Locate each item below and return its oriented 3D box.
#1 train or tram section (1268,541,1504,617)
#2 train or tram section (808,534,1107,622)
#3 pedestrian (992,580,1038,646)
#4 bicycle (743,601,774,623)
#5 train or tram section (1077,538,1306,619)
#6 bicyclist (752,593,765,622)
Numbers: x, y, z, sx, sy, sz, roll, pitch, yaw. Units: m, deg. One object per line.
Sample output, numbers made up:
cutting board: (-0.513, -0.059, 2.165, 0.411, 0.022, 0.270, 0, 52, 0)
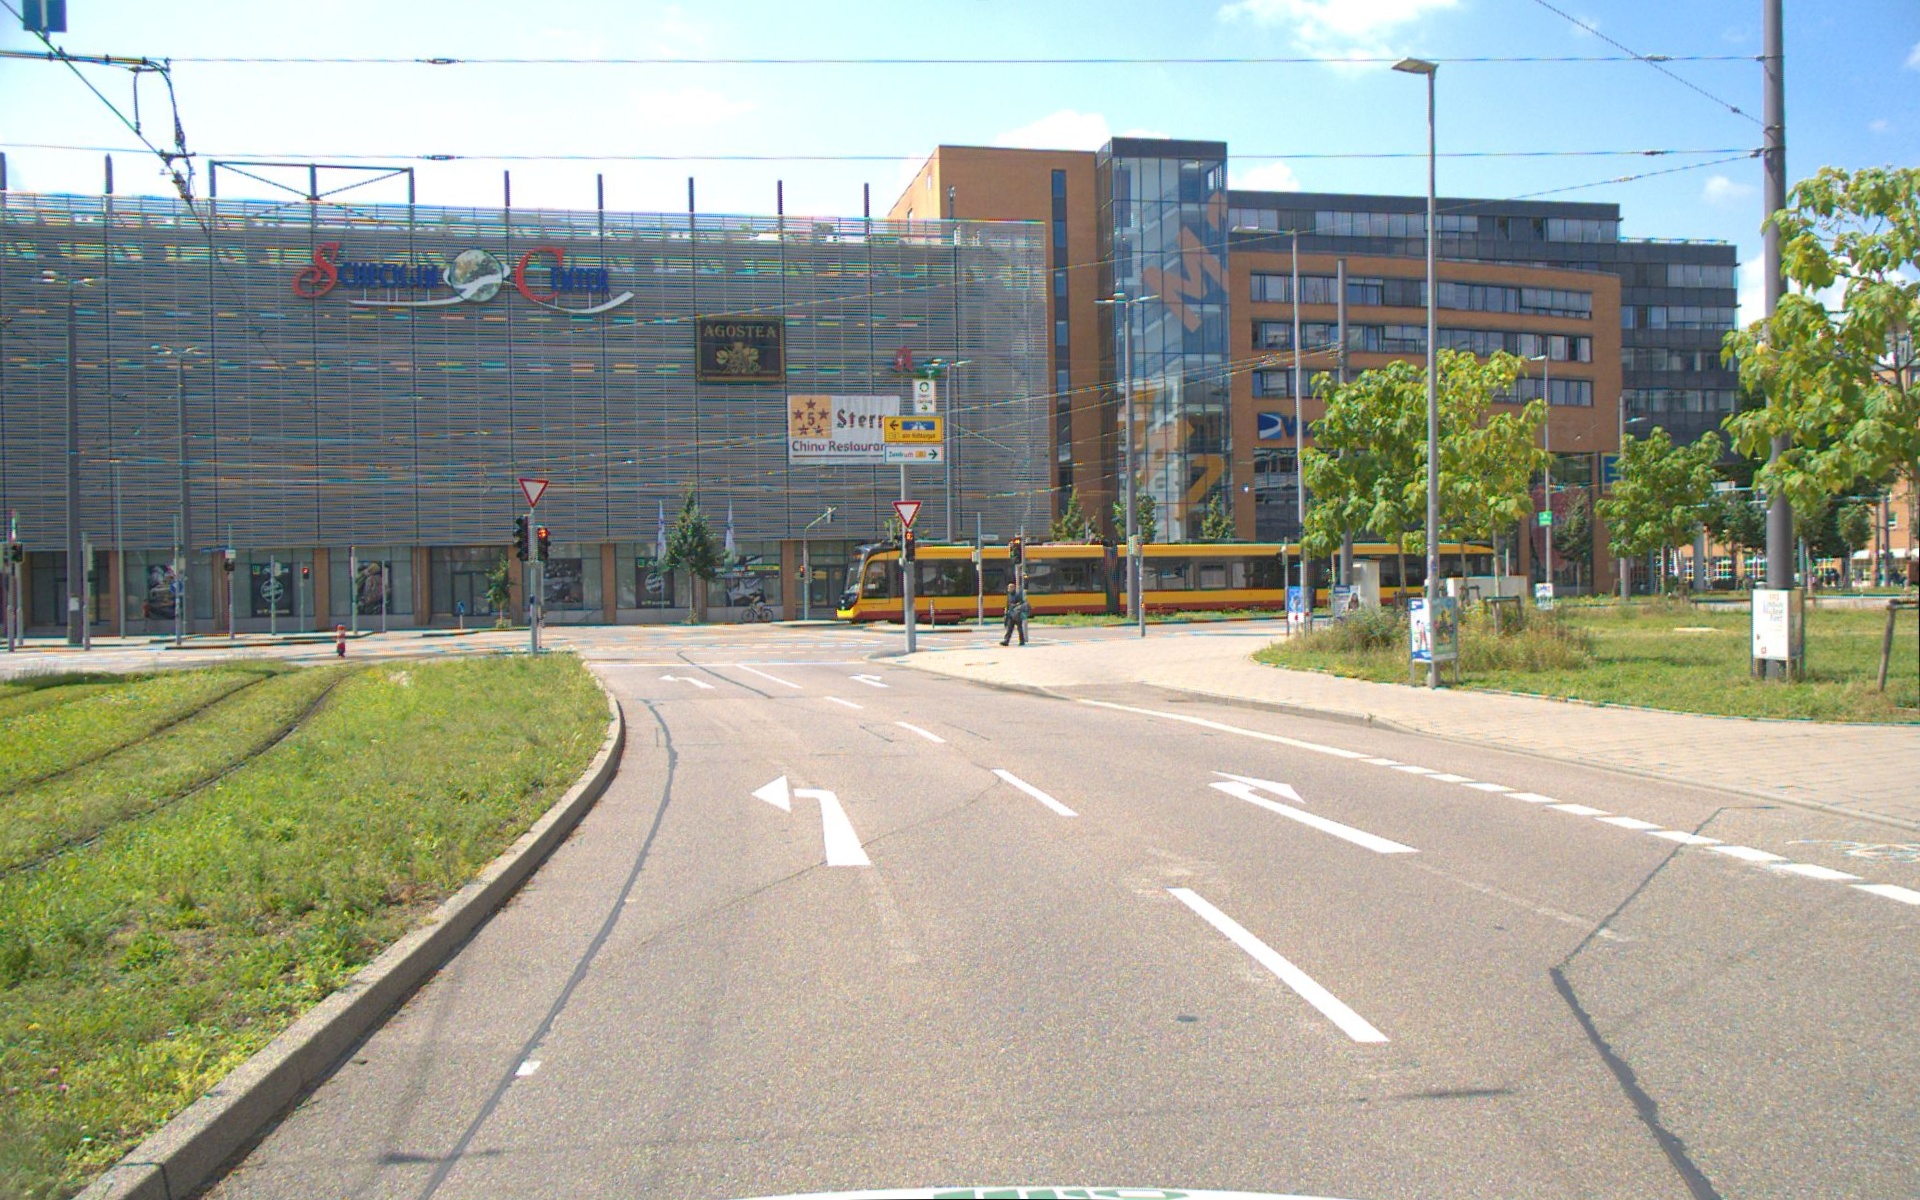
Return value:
train or tram section: (21.590, -1.046, 83.489, 12.430, 3.684, 3.042, 0, 0, -25)
train or tram section: (0.047, -0.938, 73.261, 13.294, 3.662, 3.199, 0, 0, -27)
pedestrian: (1.494, 0.356, 45.204, 0.801, 1.732, 0.905, -2, 0, -42)
bicycle: (-11.439, 0.657, 93.771, 1.730, 1.245, 0.582, 0, 0, -13)
train or tram section: (11.033, -0.983, 78.383, 10.810, 3.666, 3.043, 0, 0, -24)
bicyclist: (-11.433, 0.426, 93.776, 0.651, 1.652, 0.549, 0, 0, -13)
